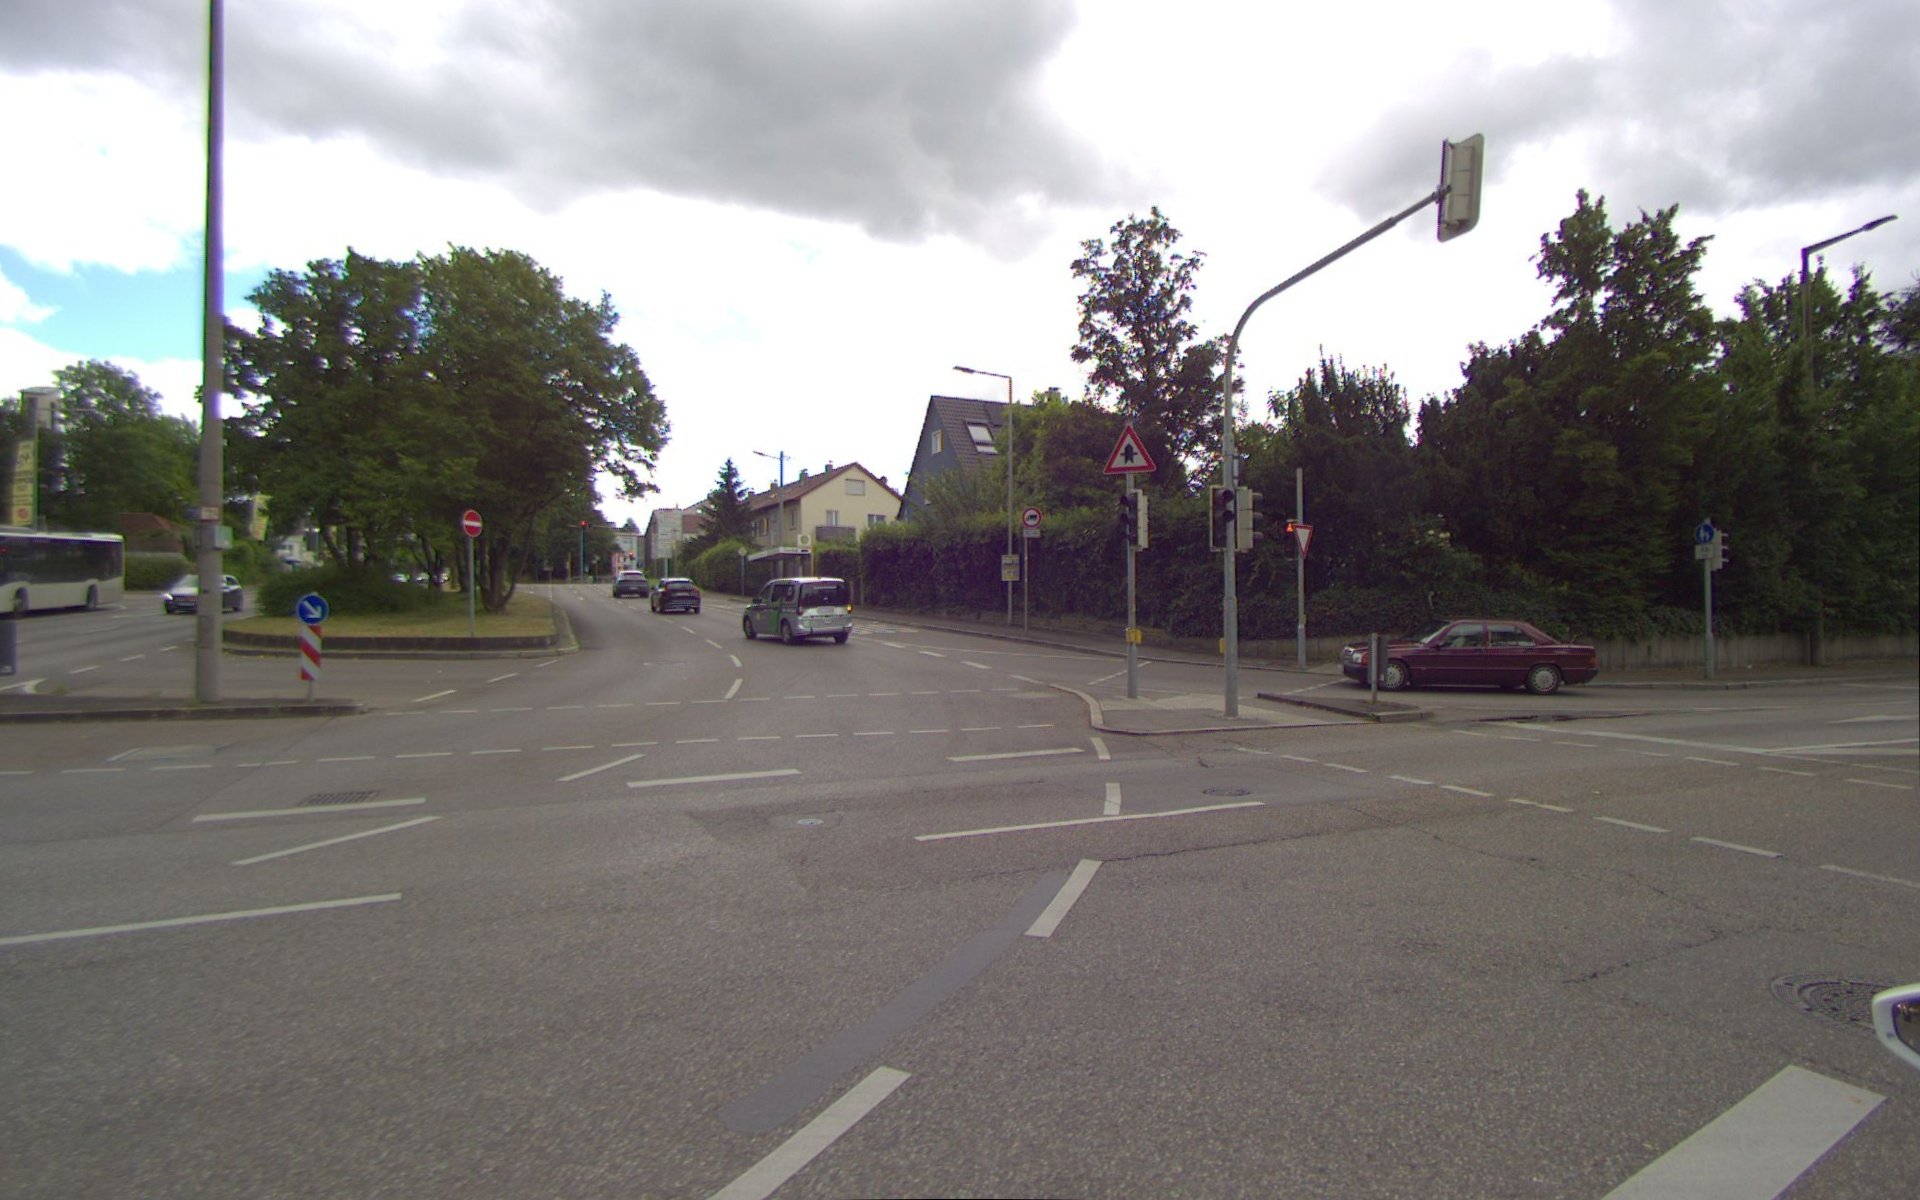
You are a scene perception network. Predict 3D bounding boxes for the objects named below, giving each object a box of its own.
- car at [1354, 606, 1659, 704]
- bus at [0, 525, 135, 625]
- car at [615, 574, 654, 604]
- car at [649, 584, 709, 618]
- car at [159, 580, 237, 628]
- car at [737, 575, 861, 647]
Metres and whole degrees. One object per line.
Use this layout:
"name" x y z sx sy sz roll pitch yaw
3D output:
"car" 9.277 0.897 17.337 4.255 1.484 1.748 1 0 4
"bus" -34.000 -1.090 36.564 2.641 3.205 12.278 1 2 -23
"car" -20.770 -0.657 63.977 1.922 1.836 4.418 1 0 -24
"car" -12.687 0.051 45.175 1.922 1.442 4.514 1 0 -24
"car" -31.573 0.131 41.757 1.977 1.877 4.708 1 0 -30
"car" -4.696 0.305 28.782 1.927 1.899 4.502 1 0 -32
